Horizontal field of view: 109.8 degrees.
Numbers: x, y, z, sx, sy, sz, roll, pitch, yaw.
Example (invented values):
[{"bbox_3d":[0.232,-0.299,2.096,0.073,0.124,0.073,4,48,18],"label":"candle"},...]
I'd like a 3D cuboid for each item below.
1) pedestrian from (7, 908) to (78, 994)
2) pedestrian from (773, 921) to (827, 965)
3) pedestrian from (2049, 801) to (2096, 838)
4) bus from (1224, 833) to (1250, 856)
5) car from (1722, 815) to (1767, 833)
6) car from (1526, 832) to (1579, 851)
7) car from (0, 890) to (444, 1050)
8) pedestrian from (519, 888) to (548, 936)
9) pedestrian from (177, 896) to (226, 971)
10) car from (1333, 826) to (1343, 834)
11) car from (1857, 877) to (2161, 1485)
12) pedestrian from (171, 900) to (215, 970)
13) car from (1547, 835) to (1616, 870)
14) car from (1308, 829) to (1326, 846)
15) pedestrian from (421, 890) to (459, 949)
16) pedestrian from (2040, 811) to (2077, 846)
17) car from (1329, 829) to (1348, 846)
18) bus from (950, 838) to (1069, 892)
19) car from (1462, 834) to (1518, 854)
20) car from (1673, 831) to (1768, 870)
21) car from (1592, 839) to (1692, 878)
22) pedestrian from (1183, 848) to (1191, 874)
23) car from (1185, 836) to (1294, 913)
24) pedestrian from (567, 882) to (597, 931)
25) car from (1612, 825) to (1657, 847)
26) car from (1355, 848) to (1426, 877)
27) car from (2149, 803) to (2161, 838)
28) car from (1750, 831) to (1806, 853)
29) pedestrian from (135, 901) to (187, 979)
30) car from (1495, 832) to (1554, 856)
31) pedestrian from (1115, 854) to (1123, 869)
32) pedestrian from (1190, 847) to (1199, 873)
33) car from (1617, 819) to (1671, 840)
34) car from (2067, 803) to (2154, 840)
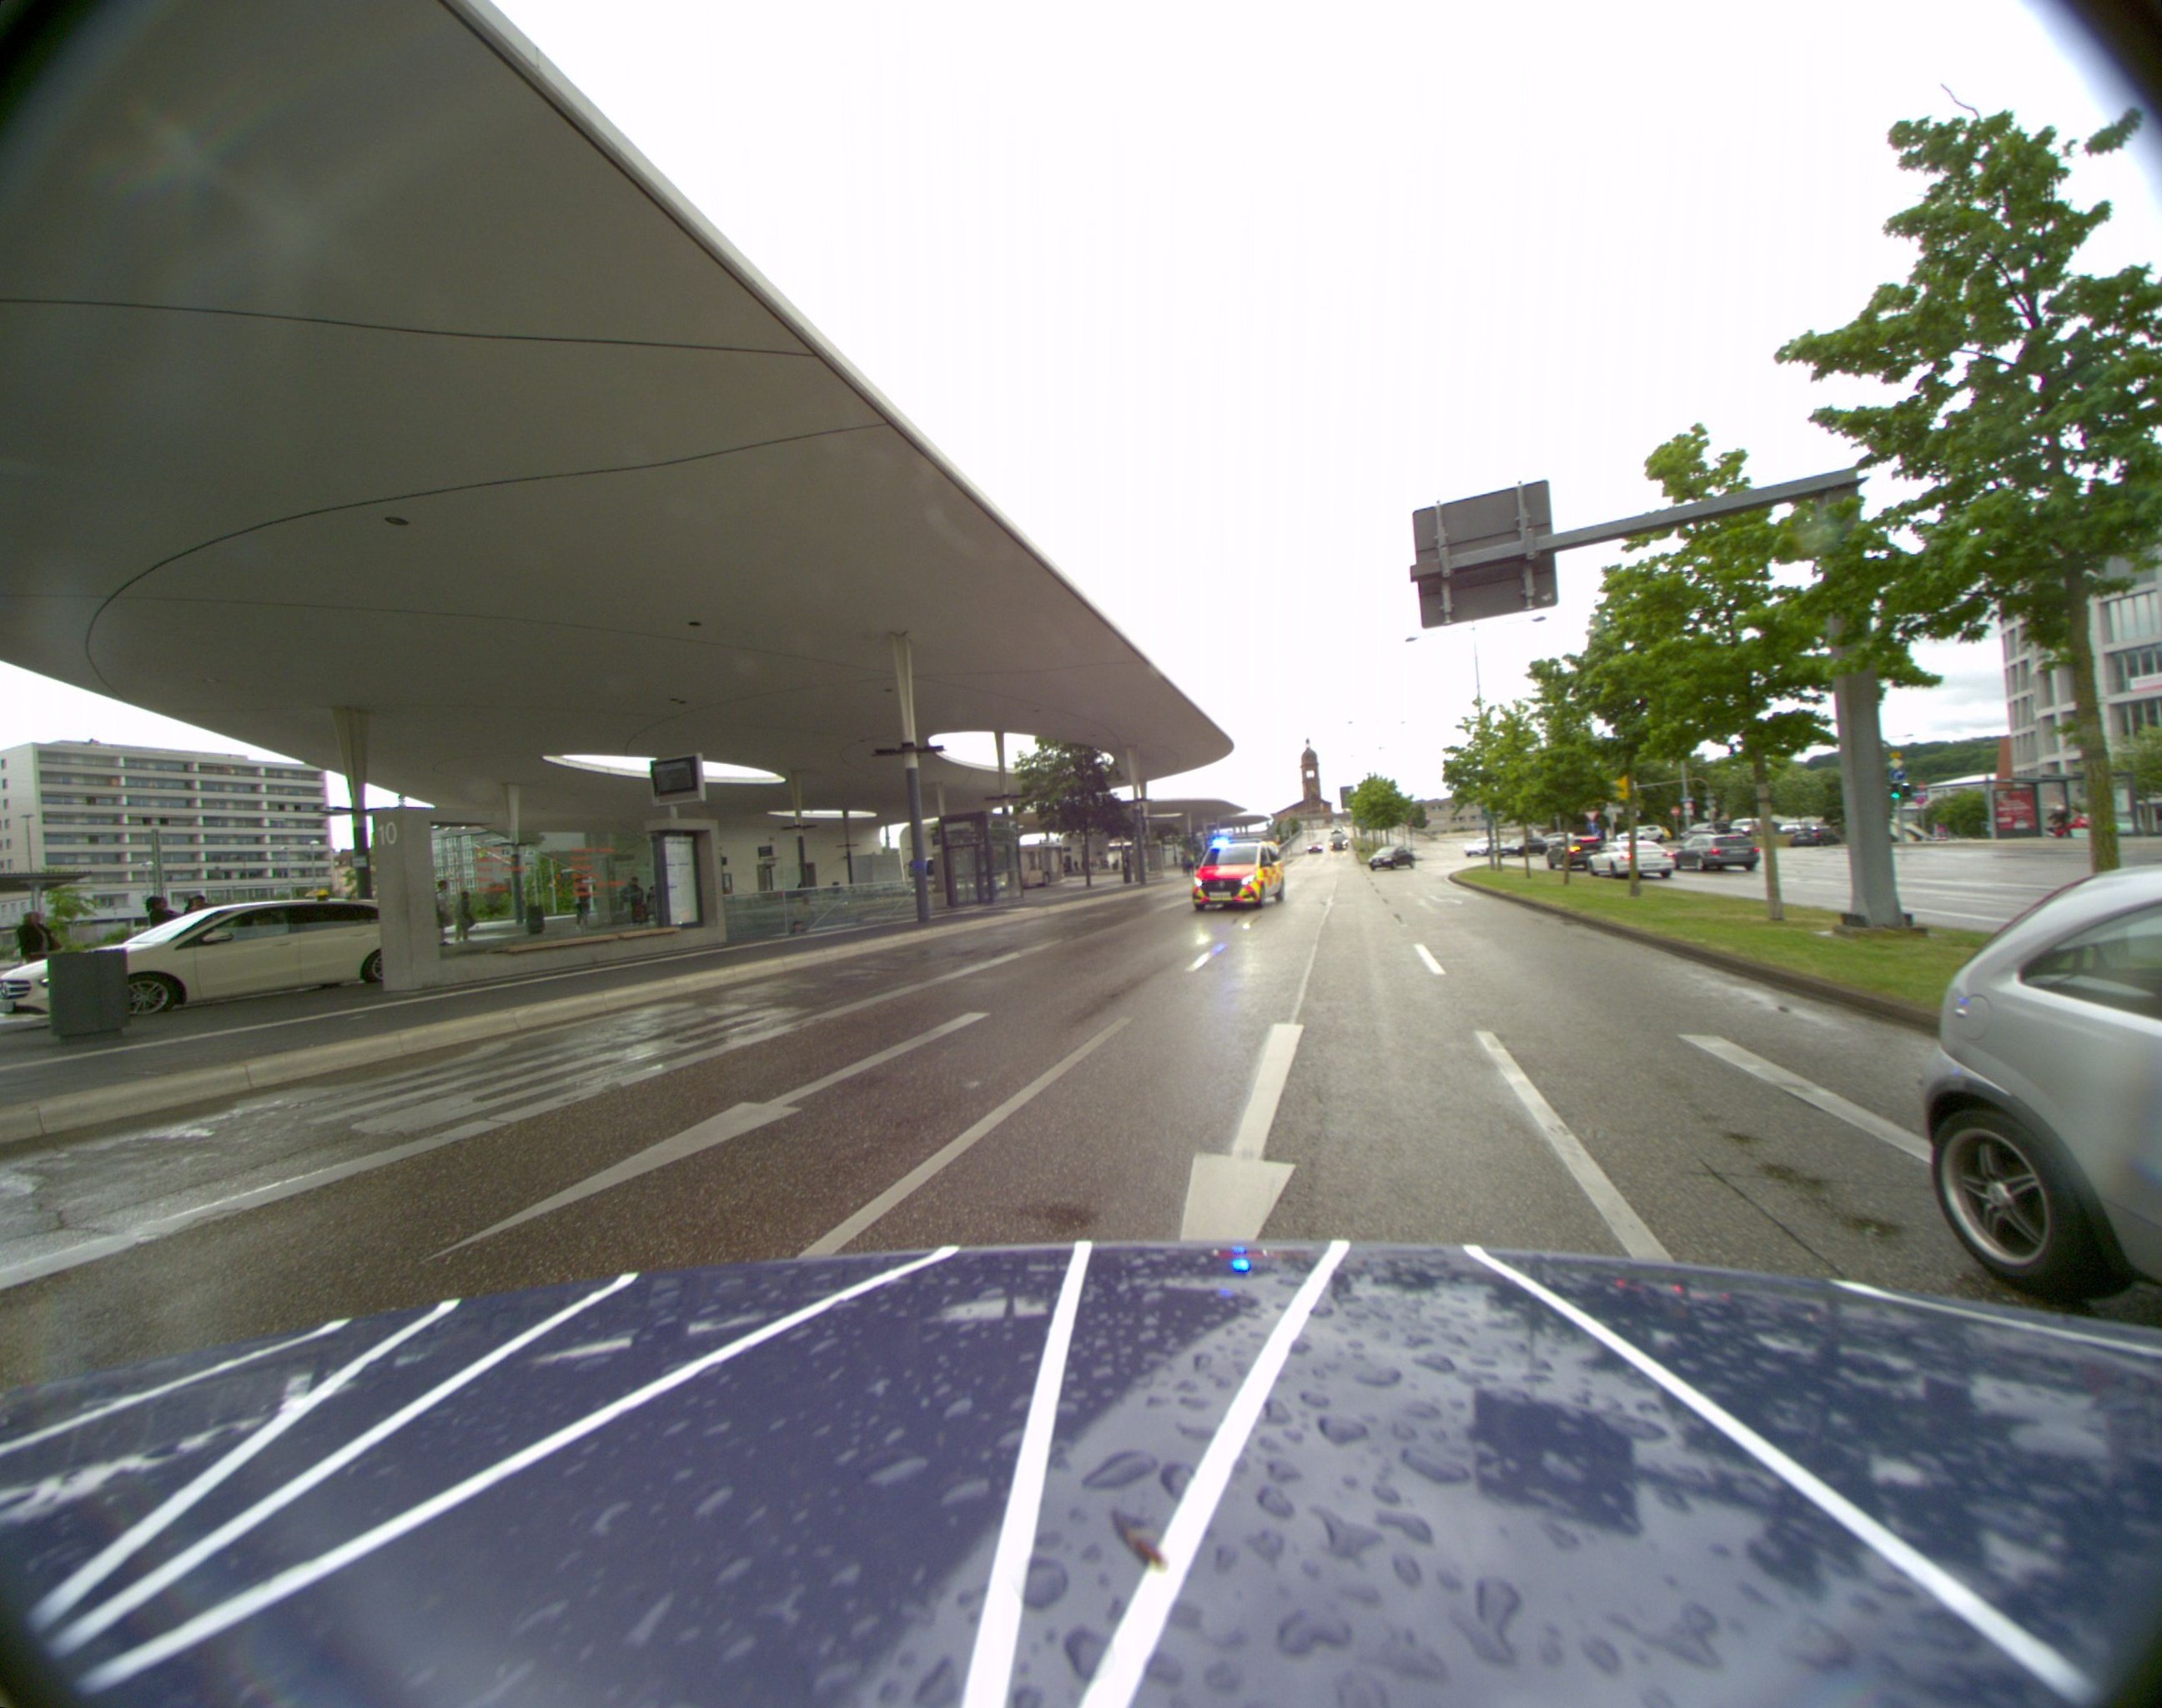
[{"bbox_3d":[-20.567,1.902,15.054,0.640,1.586,0.742,-1,1,34],"label":"pedestrian"},{"bbox_3d":[-7.463,2.352,20.194,0.881,1.048,0.959,-2,1,23],"label":"pedestrian"},{"bbox_3d":[41.684,-1.424,31.958,0.982,1.481,0.735,-2,1,30],"label":"pedestrian"},{"bbox_3d":[23.638,-1.415,115.370,3.579,3.080,10.763,-3,0,11],"label":"bus"},{"bbox_3d":[64.367,-2.932,73.687,4.163,1.624,1.873,-3,1,-27],"label":"car"},{"bbox_3d":[45.776,-1.175,73.822,4.146,1.624,1.880,-3,0,39],"label":"car"},{"bbox_3d":[-13.145,1.559,11.793,1.996,1.671,4.547,-2,1,20],"label":"car"},{"bbox_3d":[-17.911,1.885,24.849,0.478,1.505,0.526,-3,1,23],"label":"pedestrian"},{"bbox_3d":[-18.524,1.669,15.999,0.534,1.505,0.480,-3,1,24],"label":"pedestrian"},{"bbox_3d":[50.057,-4.641,147.991,1.547,1.551,3.653,-2,1,14],"label":"car"},{"bbox_3d":[3.270,0.849,0.943,1.696,1.457,3.724,-2,1,18],"label":"car"},{"bbox_3d":[-20.095,1.814,17.206,0.480,1.505,0.534,-3,1,-36],"label":"pedestrian"},{"bbox_3d":[24.492,-0.103,37.340,2.007,1.545,4.170,-2,1,22],"label":"car"},{"bbox_3d":[30.159,-2.100,97.128,1.996,2.002,4.004,-2,1,16],"label":"car"},{"bbox_3d":[-16.935,1.724,20.078,0.478,1.505,0.536,-3,1,23],"label":"pedestrian"},{"bbox_3d":[42.128,-1.094,32.750,0.732,1.481,0.735,-2,1,28],"label":"pedestrian"},{"bbox_3d":[33.383,-2.128,98.498,1.996,2.002,4.004,-2,1,14],"label":"car"},{"bbox_3d":[-4.284,0.531,49.800,2.872,3.064,11.937,-2,1,20],"label":"bus"},{"bbox_3d":[35.154,-0.840,65.300,4.051,1.550,1.810,-2,1,-13],"label":"car"},{"bbox_3d":[26.190,-0.189,31.302,1.696,1.457,4.458,-2,1,22],"label":"car"},{"bbox_3d":[21.707,0.141,29.593,2.007,1.345,4.170,-2,1,20],"label":"car"},{"bbox_3d":[7.293,0.452,52.152,0.444,1.753,0.538,-3,0,13],"label":"pedestrian"},{"bbox_3d":[4.859,0.509,22.686,1.995,2.002,5.069,-2,1,25],"label":"car"},{"bbox_3d":[-15.648,1.641,23.811,0.478,1.505,0.536,-3,1,23],"label":"pedestrian"},{"bbox_3d":[42.632,-1.384,58.587,1.882,1.545,4.007,-2,1,22],"label":"car"},{"bbox_3d":[20.178,0.513,49.527,4.162,1.692,1.873,-2,1,-25],"label":"car"},{"bbox_3d":[53.861,-1.692,36.726,4.162,1.692,1.873,-2,1,-25],"label":"car"},{"bbox_3d":[53.494,-0.967,58.369,1.882,1.545,4.007,-2,1,22],"label":"car"},{"bbox_3d":[-18.385,1.705,15.192,0.534,1.505,0.480,-3,1,24],"label":"pedestrian"},{"bbox_3d":[34.200,-0.783,58.579,4.162,1.692,1.873,-2,1,-24],"label":"car"},{"bbox_3d":[5.376,1.056,107.840,1.024,2.002,0.880,-2,1,0],"label":"pedestrian"},{"bbox_3d":[7.780,0.417,52.061,0.445,1.753,0.538,-3,0,13],"label":"pedestrian"},{"bbox_3d":[49.725,-2.152,67.113,4.306,1.624,1.873,-2,1,-24],"label":"car"},{"bbox_3d":[52.873,-1.675,39.034,4.162,1.692,1.873,-2,1,-25],"label":"car"}]
